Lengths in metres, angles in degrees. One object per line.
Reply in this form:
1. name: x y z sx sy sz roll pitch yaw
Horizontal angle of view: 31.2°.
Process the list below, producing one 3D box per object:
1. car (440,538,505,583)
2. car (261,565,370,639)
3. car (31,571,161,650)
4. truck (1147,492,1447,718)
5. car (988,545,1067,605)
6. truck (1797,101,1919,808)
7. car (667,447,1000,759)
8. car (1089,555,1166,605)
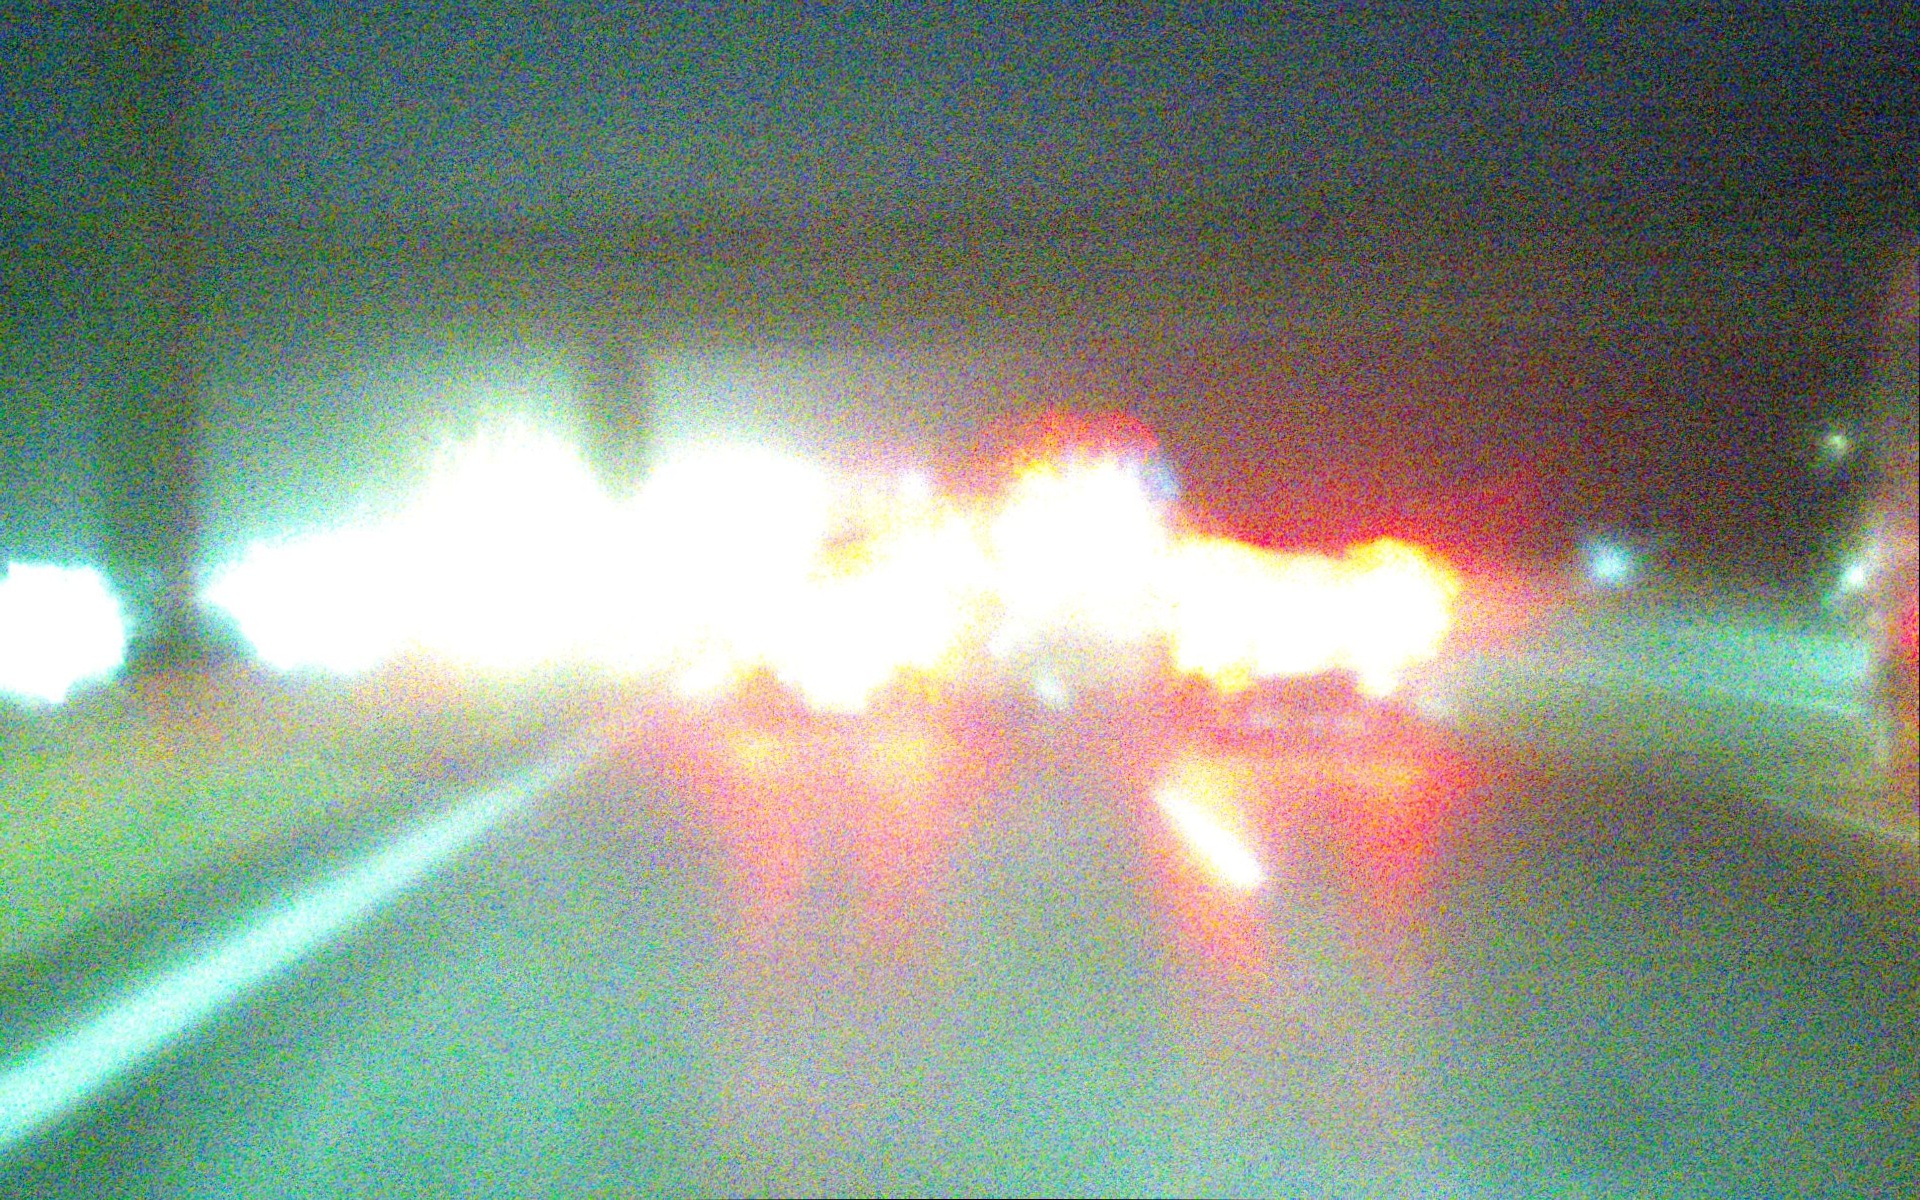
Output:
1. car: -17.008 -1.363 120.094 1.784 1.521 4.381 1 1 -2
2. car: -14.384 0.017 76.910 1.734 1.503 3.795 -2 1 -1
3. car: -18.207 0.196 72.623 1.690 1.503 4.272 -2 1 -1
4. truck: 2.686 0.013 28.503 1.843 1.690 4.855 1 1 -2
5. car: 1.609 -0.616 82.941 1.612 1.407 3.792 0 1 -3
6. truck: 6.982 -0.817 18.970 2.859 4.089 7.014 1 1 -1
7. car: -1.243 -0.042 31.861 2.709 2.525 5.832 -2 1 -4
8. car: 5.251 -0.645 108.463 1.894 1.481 4.963 1 1 -3
